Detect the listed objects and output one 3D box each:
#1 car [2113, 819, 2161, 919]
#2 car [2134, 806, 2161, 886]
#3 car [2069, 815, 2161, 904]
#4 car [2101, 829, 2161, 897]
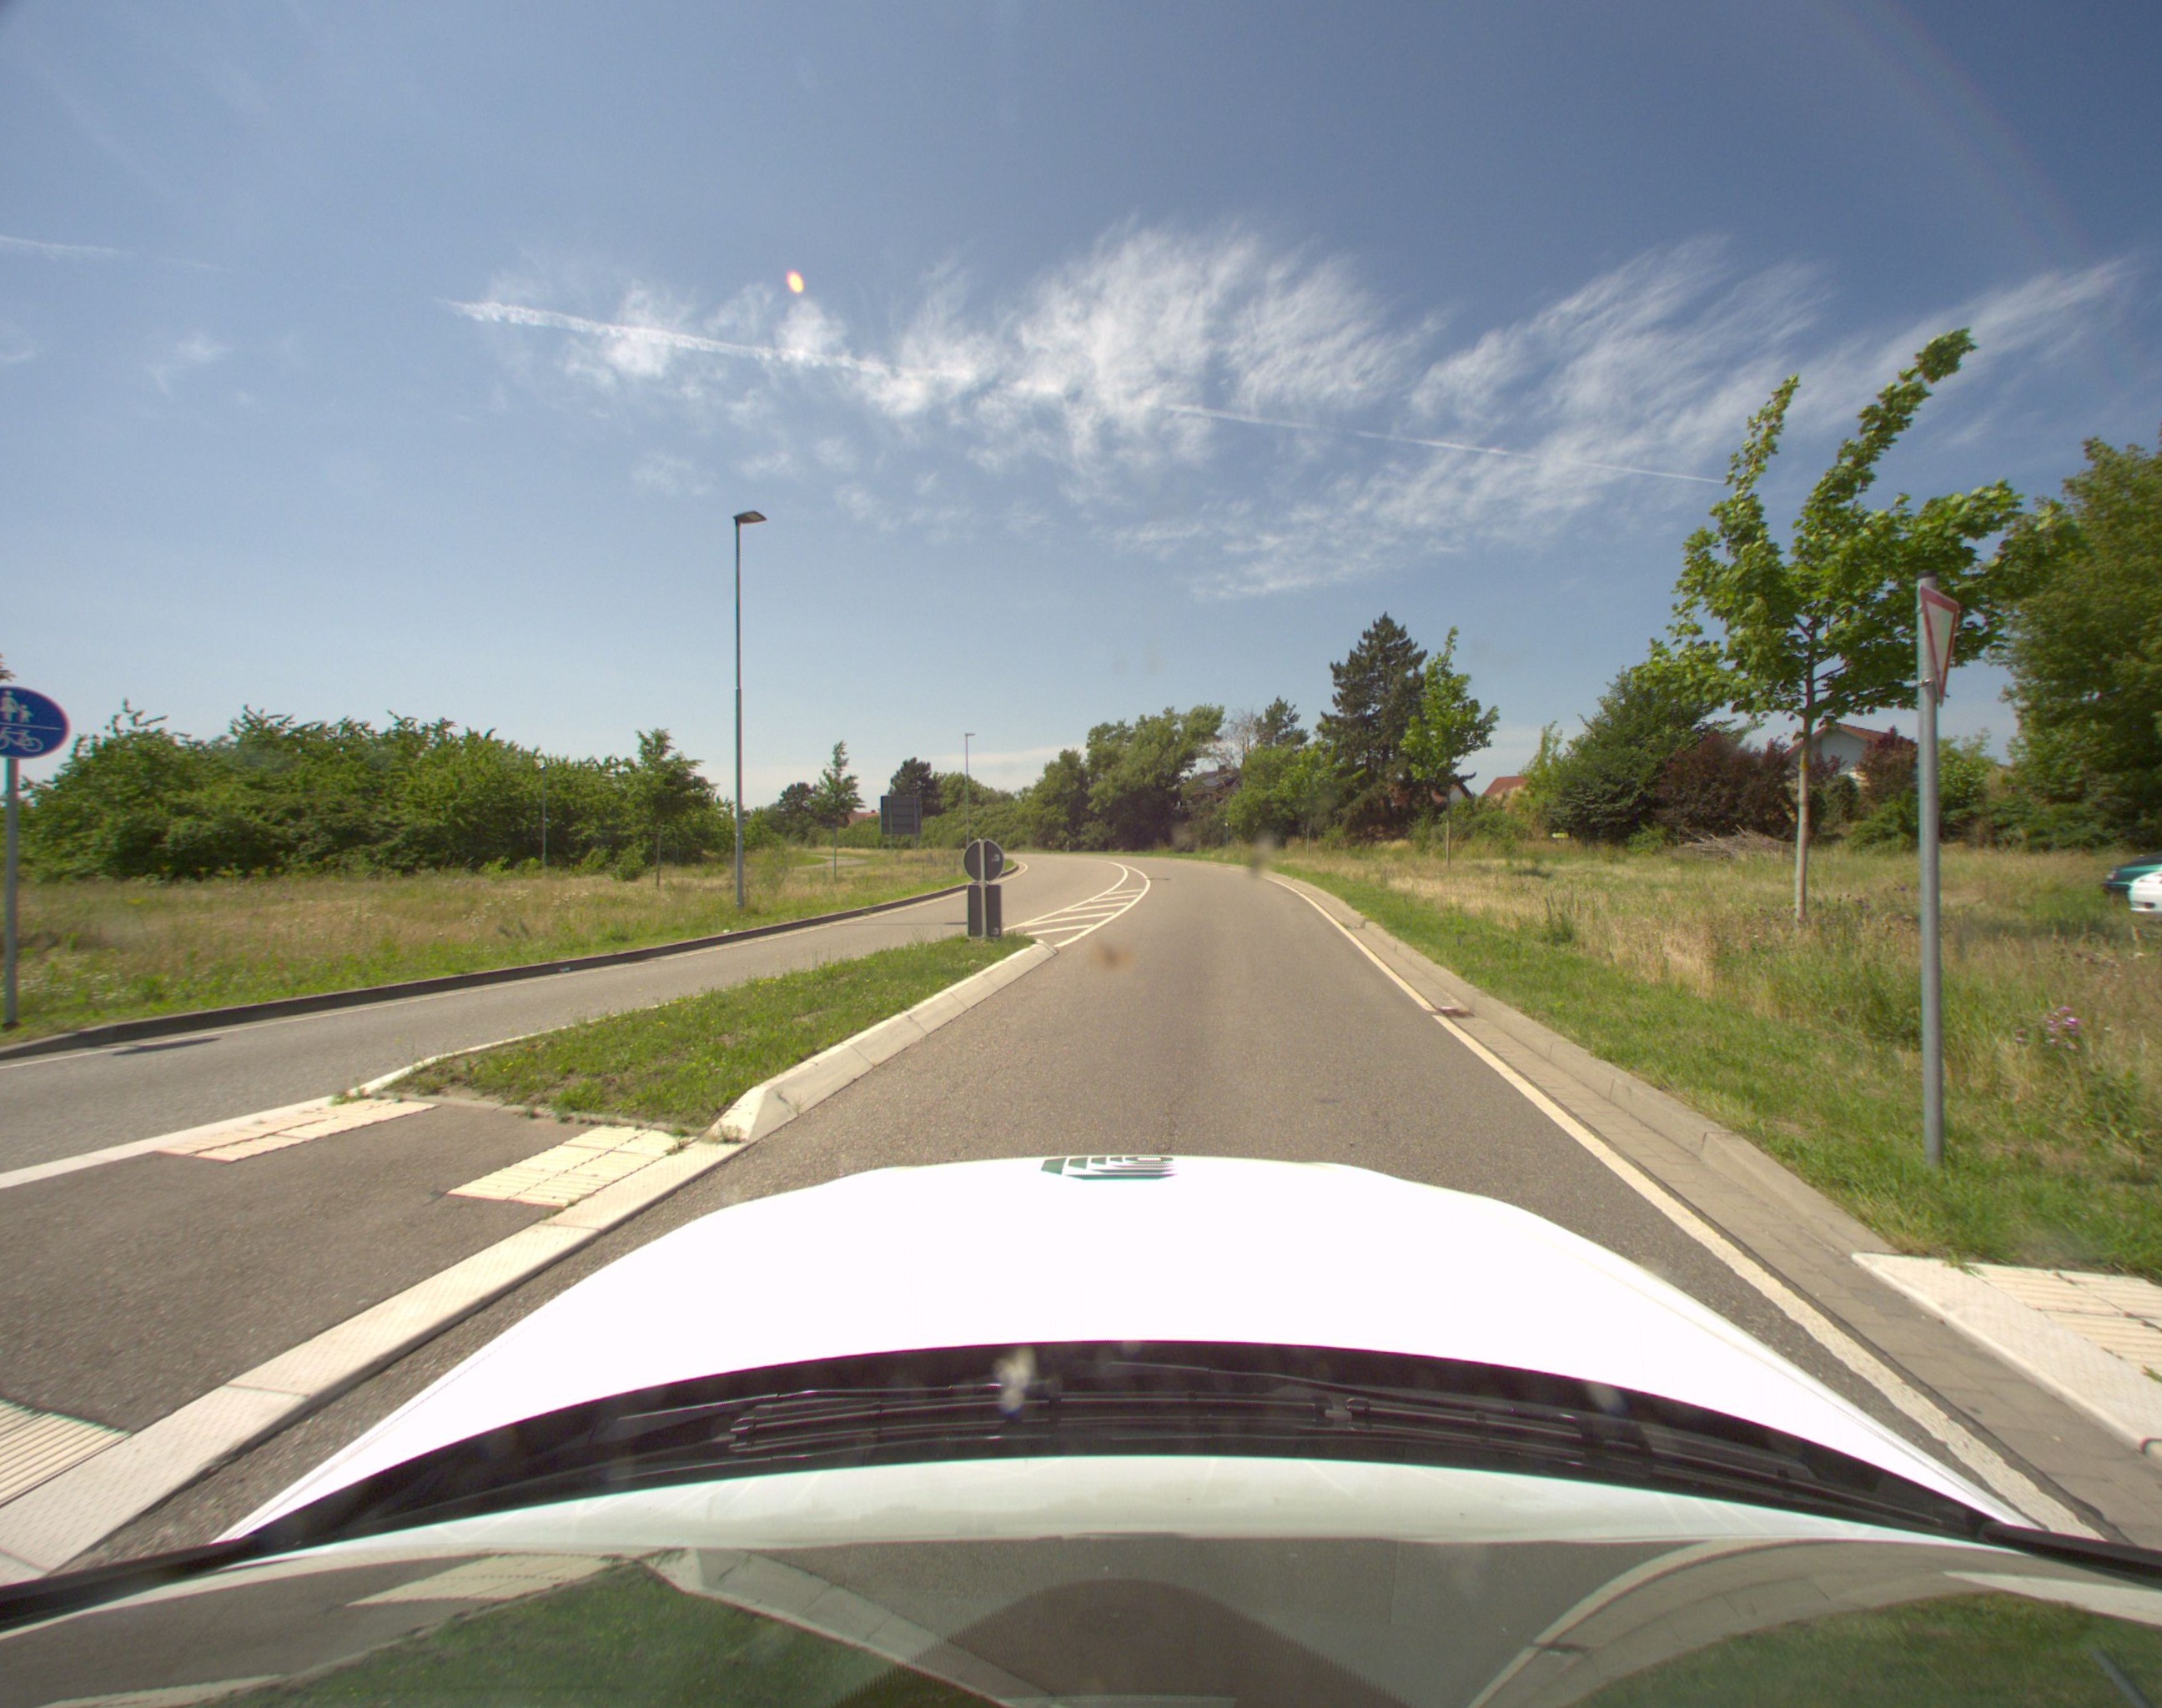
[{"bbox_3d":[17.088,0.209,10.902,1.754,1.427,3.957,-1,1,-34],"label":"car"},{"bbox_3d":[21.299,-0.104,13.889,1.780,1.442,3.927,-1,2,-32],"label":"car"},{"bbox_3d":[18.893,0.110,12.902,1.780,1.442,3.927,-1,2,-32],"label":"car"},{"bbox_3d":[24.632,0.222,17.051,1.781,1.442,3.926,-1,3,-34],"label":"car"}]
